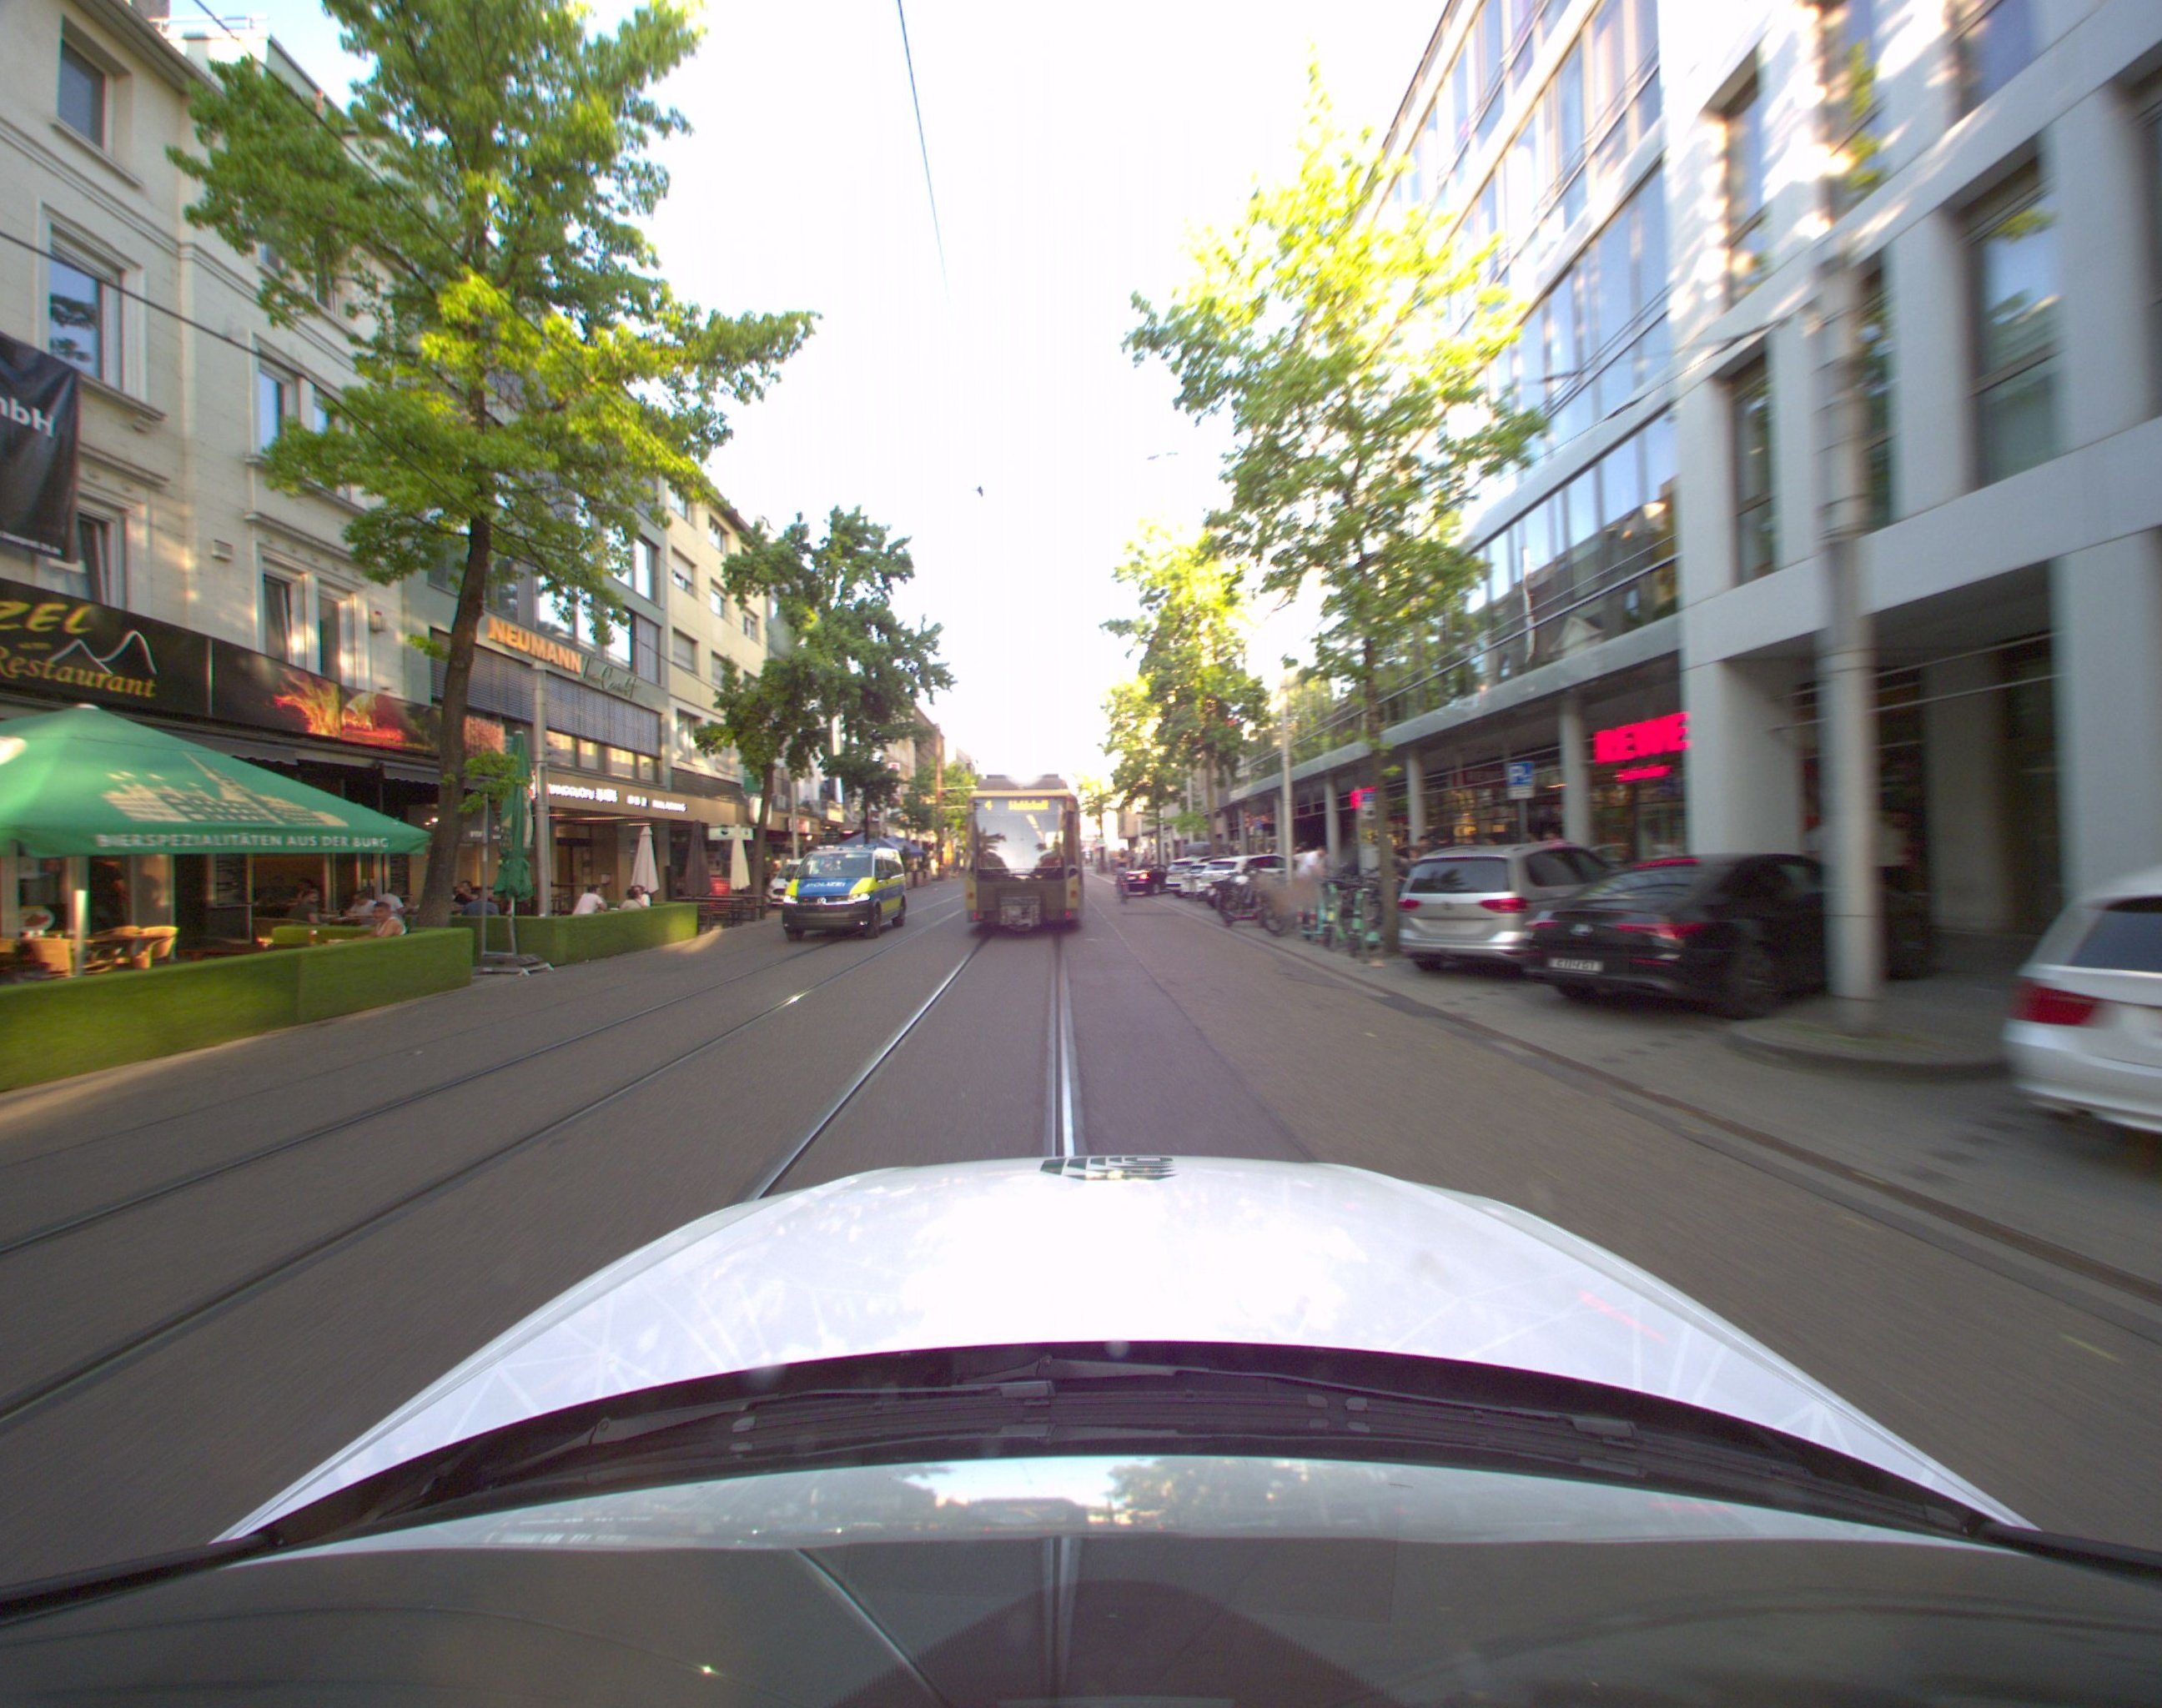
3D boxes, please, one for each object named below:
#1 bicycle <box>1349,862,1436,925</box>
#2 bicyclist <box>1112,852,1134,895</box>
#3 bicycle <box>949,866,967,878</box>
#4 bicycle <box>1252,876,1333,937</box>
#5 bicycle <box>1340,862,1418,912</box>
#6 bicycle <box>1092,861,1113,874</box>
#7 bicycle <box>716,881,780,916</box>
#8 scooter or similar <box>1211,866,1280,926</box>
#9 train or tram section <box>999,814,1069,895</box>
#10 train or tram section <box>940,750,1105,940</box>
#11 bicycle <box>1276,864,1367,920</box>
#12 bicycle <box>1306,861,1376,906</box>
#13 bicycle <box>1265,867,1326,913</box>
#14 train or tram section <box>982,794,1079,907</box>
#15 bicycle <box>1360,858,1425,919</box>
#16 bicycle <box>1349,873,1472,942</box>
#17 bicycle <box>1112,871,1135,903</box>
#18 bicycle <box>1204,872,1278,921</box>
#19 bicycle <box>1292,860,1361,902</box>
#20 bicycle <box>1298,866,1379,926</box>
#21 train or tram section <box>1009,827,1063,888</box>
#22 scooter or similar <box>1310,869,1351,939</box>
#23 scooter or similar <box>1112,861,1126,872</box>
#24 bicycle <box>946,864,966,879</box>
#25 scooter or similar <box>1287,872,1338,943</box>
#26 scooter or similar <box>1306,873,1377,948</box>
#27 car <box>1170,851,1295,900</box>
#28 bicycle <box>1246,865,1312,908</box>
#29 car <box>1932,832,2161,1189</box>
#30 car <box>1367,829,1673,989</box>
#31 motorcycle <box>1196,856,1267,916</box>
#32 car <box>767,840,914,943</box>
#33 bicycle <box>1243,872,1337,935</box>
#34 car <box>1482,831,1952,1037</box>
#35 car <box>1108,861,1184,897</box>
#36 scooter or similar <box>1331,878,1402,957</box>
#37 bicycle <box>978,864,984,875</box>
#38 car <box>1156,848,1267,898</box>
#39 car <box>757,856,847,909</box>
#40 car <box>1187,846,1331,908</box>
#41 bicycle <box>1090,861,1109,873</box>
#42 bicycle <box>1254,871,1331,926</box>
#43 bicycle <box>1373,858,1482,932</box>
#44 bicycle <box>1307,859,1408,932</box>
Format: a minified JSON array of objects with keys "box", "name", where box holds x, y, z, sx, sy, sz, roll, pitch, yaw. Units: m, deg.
[{"box":[6.488,0.803,16.971,1.695,1.149,0.499,-4,0,-18],"name":"bicycle"},{"box":[1.503,0.704,29.160,0.725,1.527,0.733,0,-2,-2],"name":"bicyclist"},{"box":[-12.335,1.819,81.675,1.731,1.126,0.562,1,-2,-6],"name":"bicycle"},{"box":[4.350,1.052,16.692,1.755,1.076,0.489,-4,0,-33],"name":"bicycle"},{"box":[7.330,0.800,19.999,1.840,1.094,0.816,-3,0,-34],"name":"bicycle"},{"box":[2.552,1.575,95.990,2.325,1.472,0.789,-1,-2,-6],"name":"bicycle"},{"box":[-10.958,1.448,26.848,0.605,1.068,2.031,-2,-1,27],"name":"bicycle"},{"box":[3.813,0.956,18.918,0.701,1.304,1.377,-3,0,-41],"name":"scooter or similar"},{"box":[-2.335,0.090,41.610,2.996,3.524,10.832,-1,-1,-3],"name":"train or tram section"},{"box":[-1.349,-0.111,20.631,3.010,3.524,10.358,-2,-1,-3],"name":"train or tram section"},{"box":[5.735,0.883,19.414,2.001,1.148,0.693,-4,1,-21],"name":"bicycle"},{"box":[7.226,0.809,22.641,1.798,1.117,0.836,-3,0,-32],"name":"bicycle"},{"box":[5.743,0.940,21.748,1.603,1.033,0.548,-7,1,-32],"name":"bicycle"},{"box":[-1.835,-0.044,31.003,3.000,3.524,10.390,-1,-1,-3],"name":"train or tram section"},{"box":[6.934,0.751,18.082,1.705,1.189,0.548,-4,1,-40],"name":"bicycle"},{"box":[5.685,0.903,14.134,0.634,1.076,1.858,-4,1,-38],"name":"bicycle"},{"box":[1.498,1.168,29.130,0.654,1.060,2.055,0,-1,-1],"name":"bicycle"},{"box":[4.094,1.058,20.817,1.757,1.117,0.798,-3,0,-34],"name":"bicycle"},{"box":[7.331,0.795,24.339,1.753,1.117,0.928,-3,-1,-26],"name":"bicycle"},{"box":[5.538,0.891,17.507,1.688,1.138,0.475,-4,0,-23],"name":"bicycle"},{"box":[-2.846,0.259,52.292,3.037,3.524,10.519,-1,-1,-3],"name":"train or tram section"},{"box":[4.667,0.912,15.276,0.564,1.205,1.286,-4,0,12],"name":"scooter or similar"},{"box":[4.229,1.419,90.639,1.382,1.210,0.513,-2,-1,-16],"name":"scooter or similar"},{"box":[-11.900,1.672,77.552,1.800,1.360,0.657,1,-2,-15],"name":"bicycle"},{"box":[4.235,0.958,14.967,0.481,1.222,1.213,-4,-1,-1],"name":"scooter or similar"},{"box":[4.532,0.958,14.145,1.339,1.182,0.493,-2,0,-40],"name":"scooter or similar"},{"box":[5.645,0.785,30.281,4.193,1.457,1.848,-4,0,-26],"name":"car"},{"box":[5.754,0.948,23.685,1.758,1.117,0.908,-3,-1,-37],"name":"bicycle"},{"box":[6.785,0.613,4.282,4.357,1.422,1.814,-4,0,-25],"name":"car"},{"box":[6.219,0.615,11.312,4.699,1.640,1.933,-4,-1,-38],"name":"car"},{"box":[4.185,0.858,22.521,0.786,1.471,2.219,-3,1,44],"name":"motorcycle"},{"box":[-5.223,0.758,18.427,1.989,1.976,4.845,-2,-1,-2],"name":"car"},{"box":[4.409,1.009,17.119,2.001,1.130,0.673,-4,1,-33],"name":"bicycle"},{"box":[6.539,0.659,8.367,4.357,1.422,1.939,-4,-1,-24],"name":"car"},{"box":[2.984,1.079,36.357,1.785,1.348,4.472,-2,0,26],"name":"car"},{"box":[4.682,1.004,13.323,0.572,1.150,1.410,-3,0,41],"name":"scooter or similar"},{"box":[-10.812,1.702,87.794,0.611,1.126,2.246,1,-2,-7],"name":"bicycle"},{"box":[5.311,0.743,32.966,4.225,1.637,1.900,-4,0,-34],"name":"car"},{"box":[-10.337,1.032,30.525,1.788,1.818,4.514,0,-1,0],"name":"car"},{"box":[5.641,0.692,25.606,4.363,1.563,1.857,-4,0,-35],"name":"car"},{"box":[2.273,1.606,100.069,2.325,1.472,0.789,-1,-2,-6],"name":"bicycle"},{"box":[4.899,0.997,18.826,1.841,1.076,0.617,-5,1,-34],"name":"bicycle"},{"box":[6.223,0.744,14.658,1.640,1.250,0.645,-3,0,34],"name":"bicycle"},{"box":[5.499,0.792,16.198,1.834,1.273,0.676,-4,0,-21],"name":"bicycle"}]
